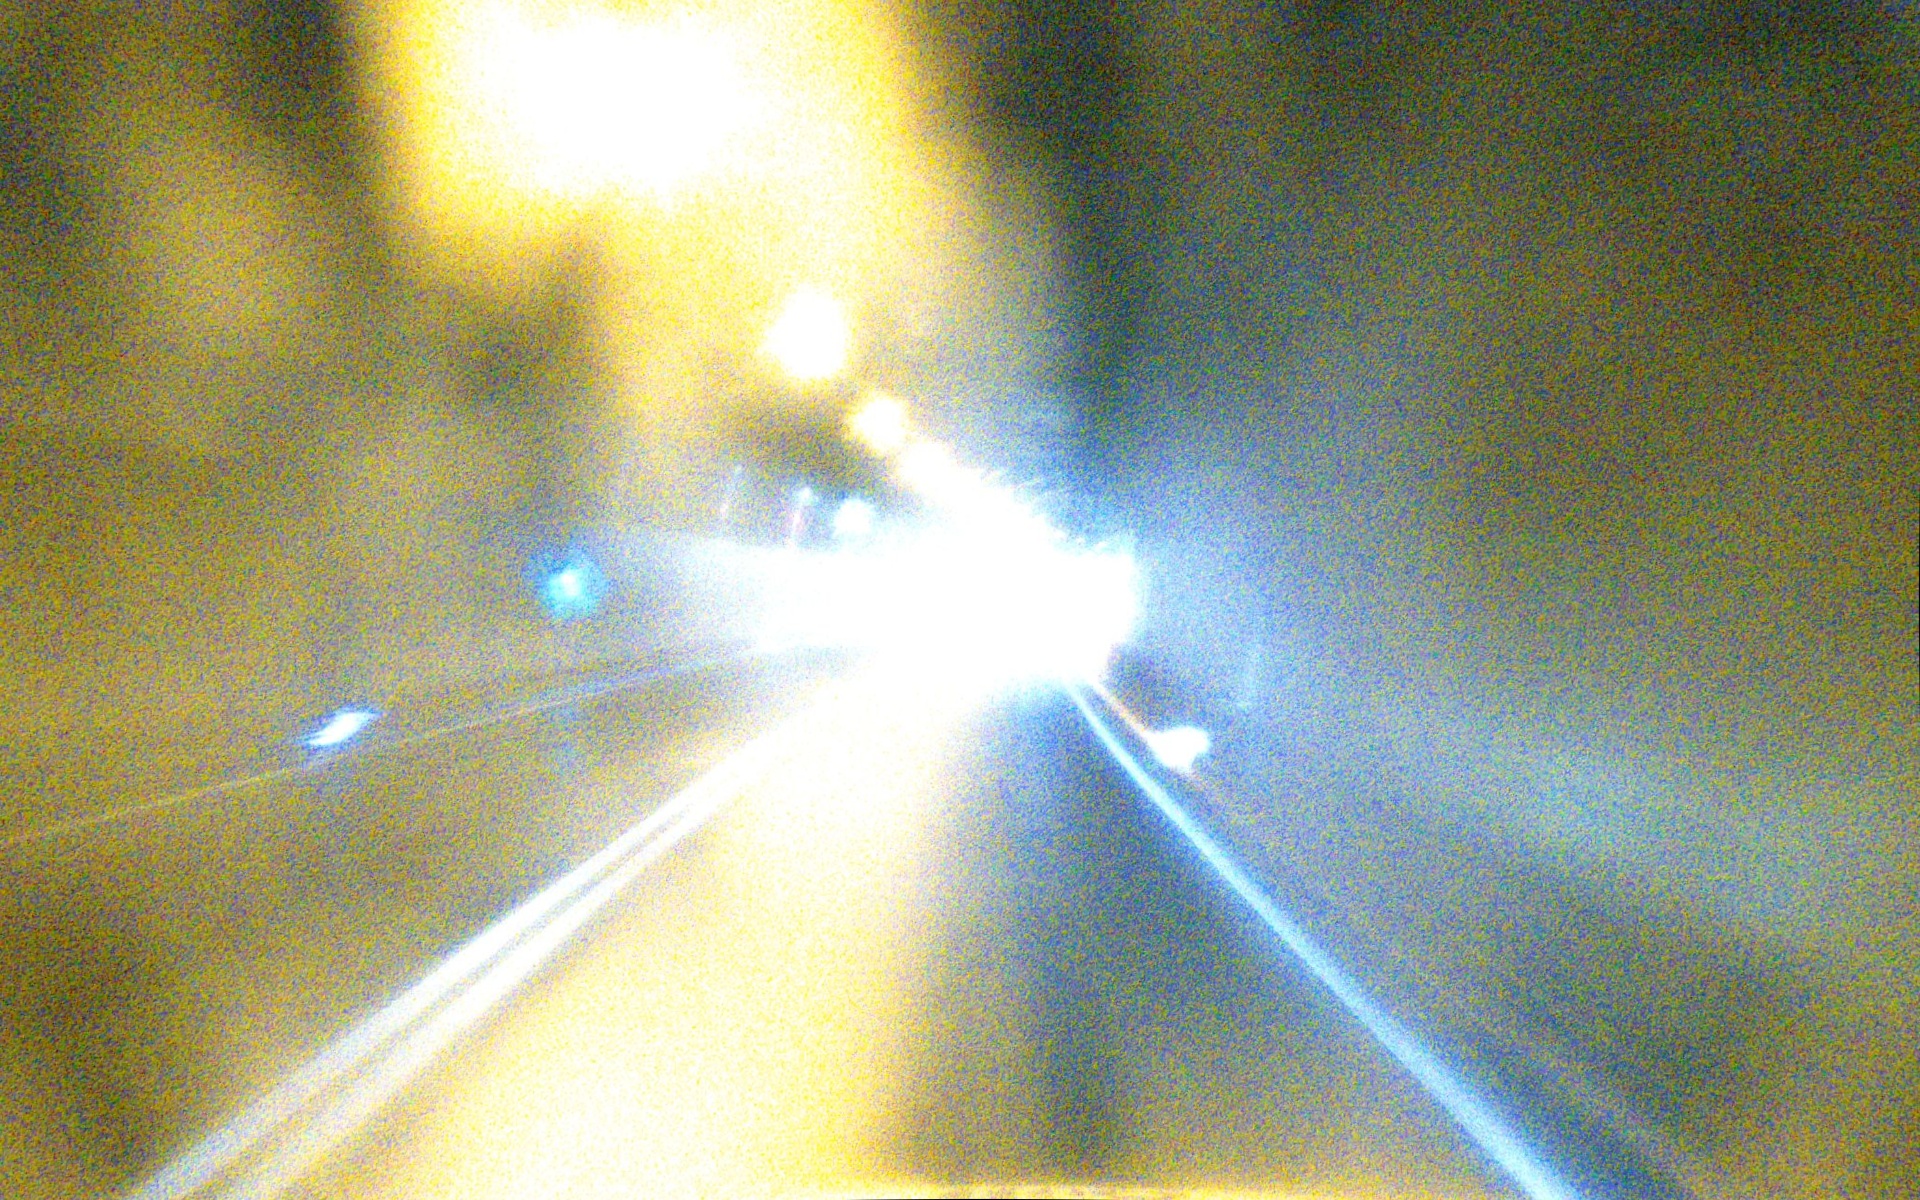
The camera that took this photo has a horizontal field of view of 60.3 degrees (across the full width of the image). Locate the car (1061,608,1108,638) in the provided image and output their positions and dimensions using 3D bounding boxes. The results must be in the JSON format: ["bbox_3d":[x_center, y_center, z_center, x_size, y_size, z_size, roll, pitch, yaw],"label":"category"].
[{"bbox_3d":[7.193,1.313,95.455,1.951,1.679,4.003,1,0,15],"label":"car"}]

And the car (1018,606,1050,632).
[{"bbox_3d":[4.489,1.118,100.357,1.593,1.472,3.935,1,0,-2],"label":"car"}]
